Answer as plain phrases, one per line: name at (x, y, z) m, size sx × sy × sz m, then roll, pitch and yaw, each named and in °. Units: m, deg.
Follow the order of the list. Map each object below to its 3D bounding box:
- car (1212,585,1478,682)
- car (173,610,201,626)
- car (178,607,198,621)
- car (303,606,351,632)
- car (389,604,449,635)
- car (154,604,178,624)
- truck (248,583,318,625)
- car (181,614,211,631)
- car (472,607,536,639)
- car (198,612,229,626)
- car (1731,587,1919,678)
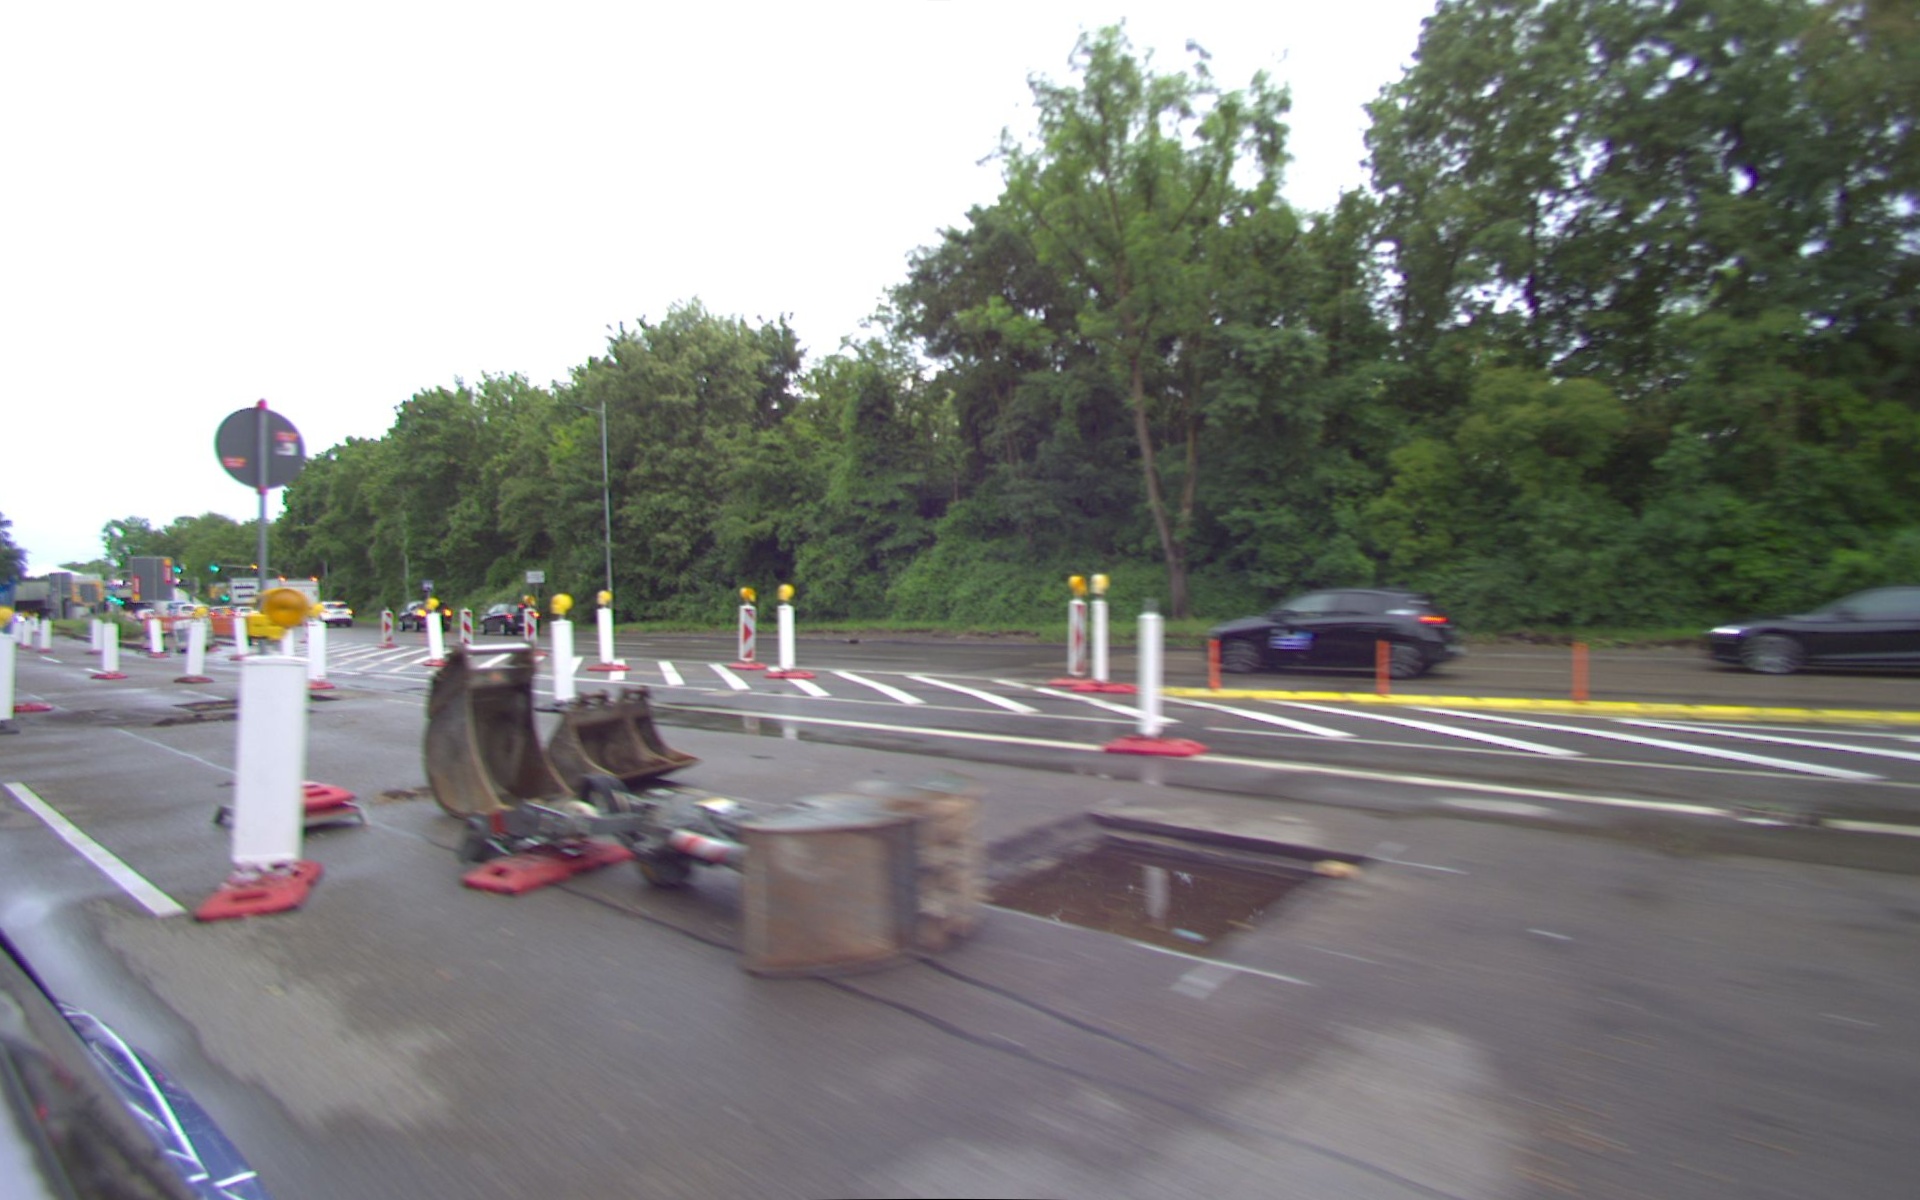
car at (6.207, 0.526, 16.537) m, size 3.820 × 1.418 × 1.414 m, roll -1°, pitch -1°, yaw 38°
car at (-90.710, 2.129, 118.766) m, size 4.836 × 1.794 × 1.892 m, roll -2°, pitch 0°, yaw 45°
car at (-119.060, 2.169, 156.100) m, size 2.010 × 1.989 × 4.997 m, roll -3°, pitch 0°, yaw -41°
car at (-45.022, 1.387, 71.936) m, size 1.823 × 1.736 × 4.722 m, roll 3°, pitch -3°, yaw -45°
car at (-29.852, 1.080, 55.801) m, size 4.199 × 1.660 × 1.617 m, roll -2°, pitch -1°, yaw 43°
car at (-108.962, 1.935, 138.784) m, size 2.168 × 2.408 × 6.252 m, roll -3°, pitch 0°, yaw -41°
truck at (-54.702, 0.331, 81.653) m, size 2.763 × 3.172 × 10.154 m, roll -2°, pitch 0°, yaw -45°
car at (-74.531, 2.188, 98.693) m, size 1.814 × 1.562 × 4.042 m, roll -1°, pitch 0°, yaw -45°
car at (-21.584, 1.091, 47.888) m, size 3.539 × 1.468 × 1.509 m, roll -1°, pitch -2°, yaw 42°
car at (-64.966, 1.649, 88.045) m, size 1.587 × 1.161 × 4.285 m, roll -2°, pitch 0°, yaw -45°
car at (13.911, 0.450, 14.737) m, size 4.224 × 1.272 × 1.413 m, roll -1°, pitch 0°, yaw 39°
